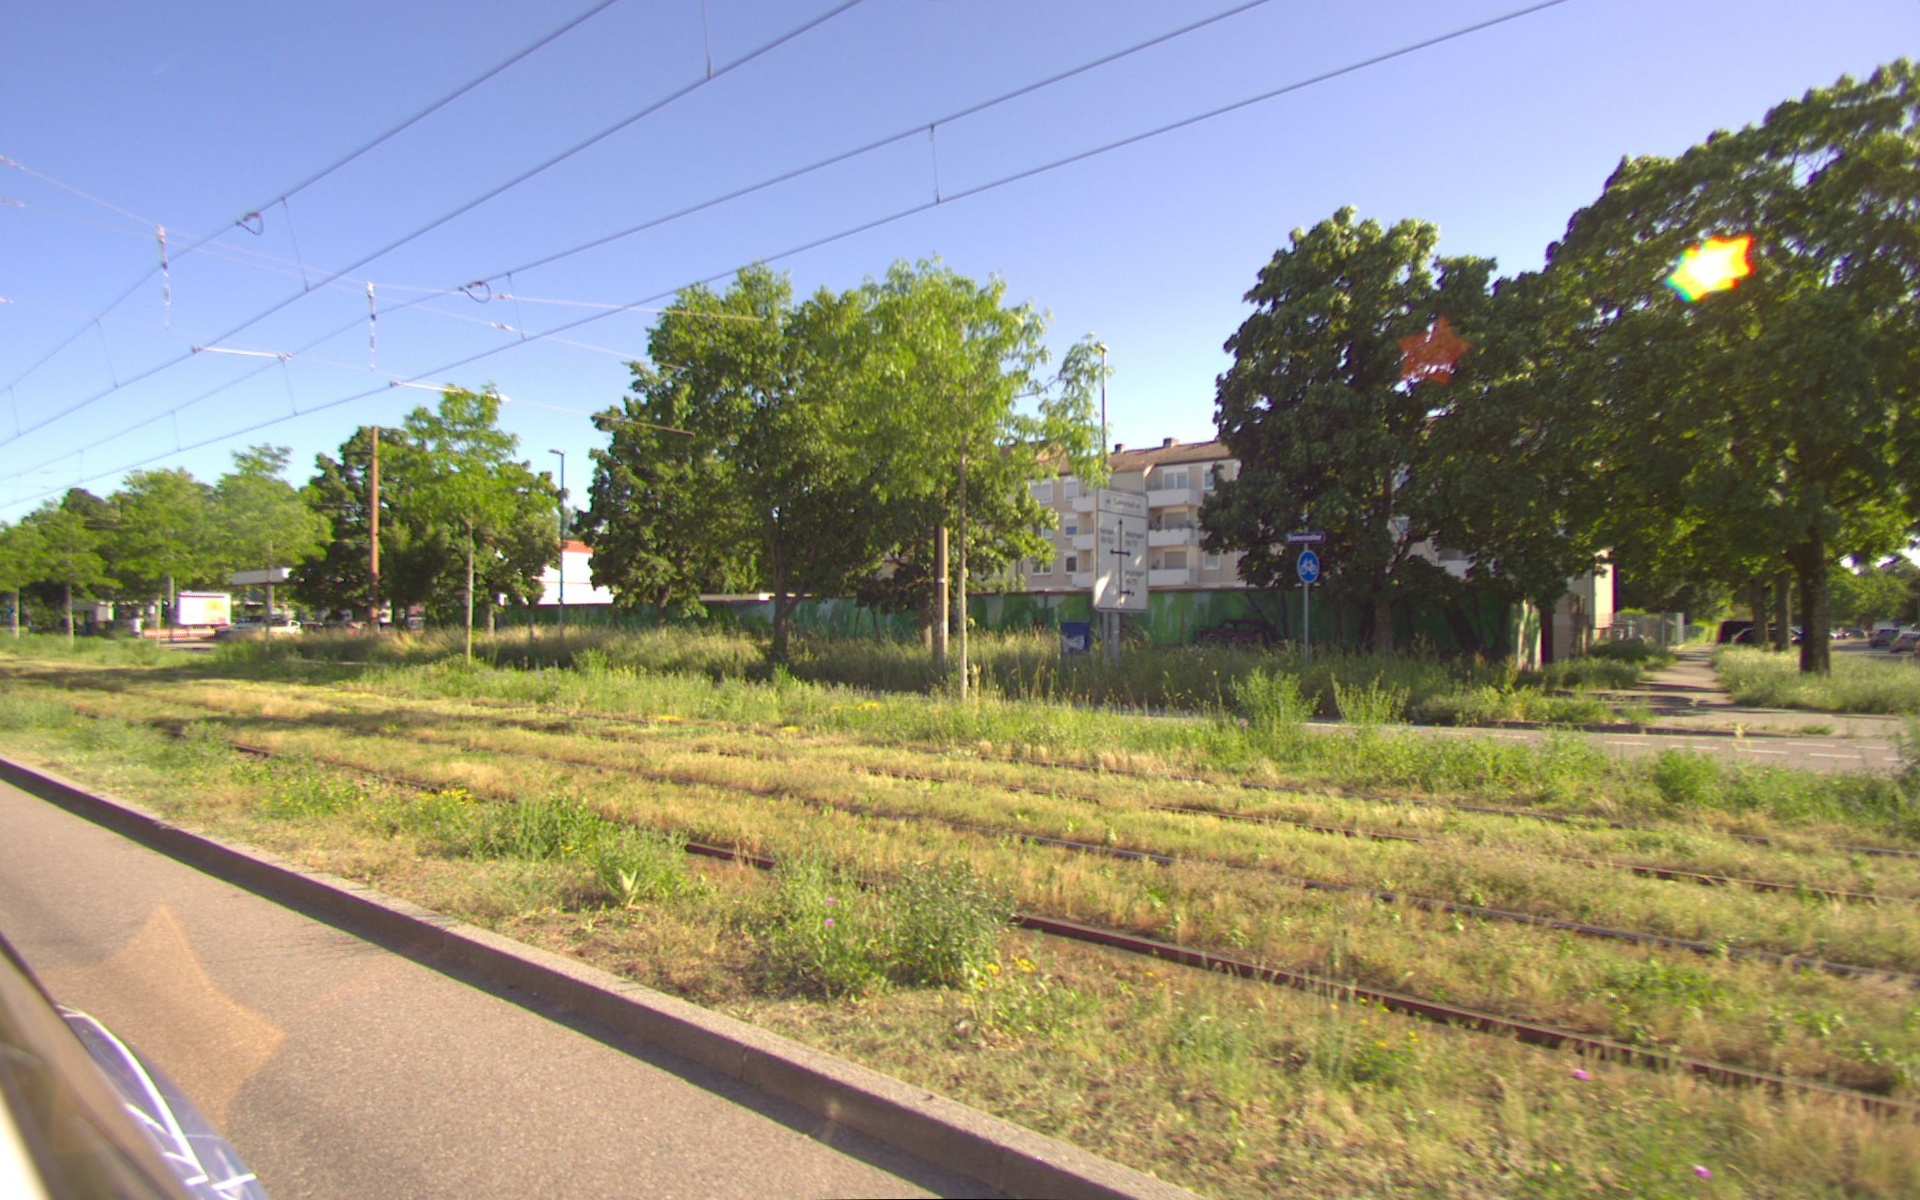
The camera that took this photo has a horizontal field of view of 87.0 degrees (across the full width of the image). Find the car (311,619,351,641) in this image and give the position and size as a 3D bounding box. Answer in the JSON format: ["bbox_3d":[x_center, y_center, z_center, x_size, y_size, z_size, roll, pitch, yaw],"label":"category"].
[{"bbox_3d":[-47.425,2.244,76.391,1.992,1.519,4.906,1,0,-25],"label":"car"}]

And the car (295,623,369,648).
[{"bbox_3d":[-40.137,2.271,64.741,1.637,1.523,3.670,-1,-2,33],"label":"car"}]

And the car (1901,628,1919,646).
[{"bbox_3d":[60.556,2.333,63.901,1.235,1.134,2.935,-1,-2,34],"label":"car"}]

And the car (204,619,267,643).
[{"bbox_3d":[-61.402,2.616,85.861,1.998,1.871,3.947,-2,0,40],"label":"car"}]

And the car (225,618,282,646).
[{"bbox_3d":[-52.696,2.375,75.597,1.867,1.925,4.823,-1,-1,-13],"label":"car"}]

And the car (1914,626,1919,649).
[{"bbox_3d":[52.252,2.016,54.019,1.406,1.260,3.249,-1,-2,34],"label":"car"}]
